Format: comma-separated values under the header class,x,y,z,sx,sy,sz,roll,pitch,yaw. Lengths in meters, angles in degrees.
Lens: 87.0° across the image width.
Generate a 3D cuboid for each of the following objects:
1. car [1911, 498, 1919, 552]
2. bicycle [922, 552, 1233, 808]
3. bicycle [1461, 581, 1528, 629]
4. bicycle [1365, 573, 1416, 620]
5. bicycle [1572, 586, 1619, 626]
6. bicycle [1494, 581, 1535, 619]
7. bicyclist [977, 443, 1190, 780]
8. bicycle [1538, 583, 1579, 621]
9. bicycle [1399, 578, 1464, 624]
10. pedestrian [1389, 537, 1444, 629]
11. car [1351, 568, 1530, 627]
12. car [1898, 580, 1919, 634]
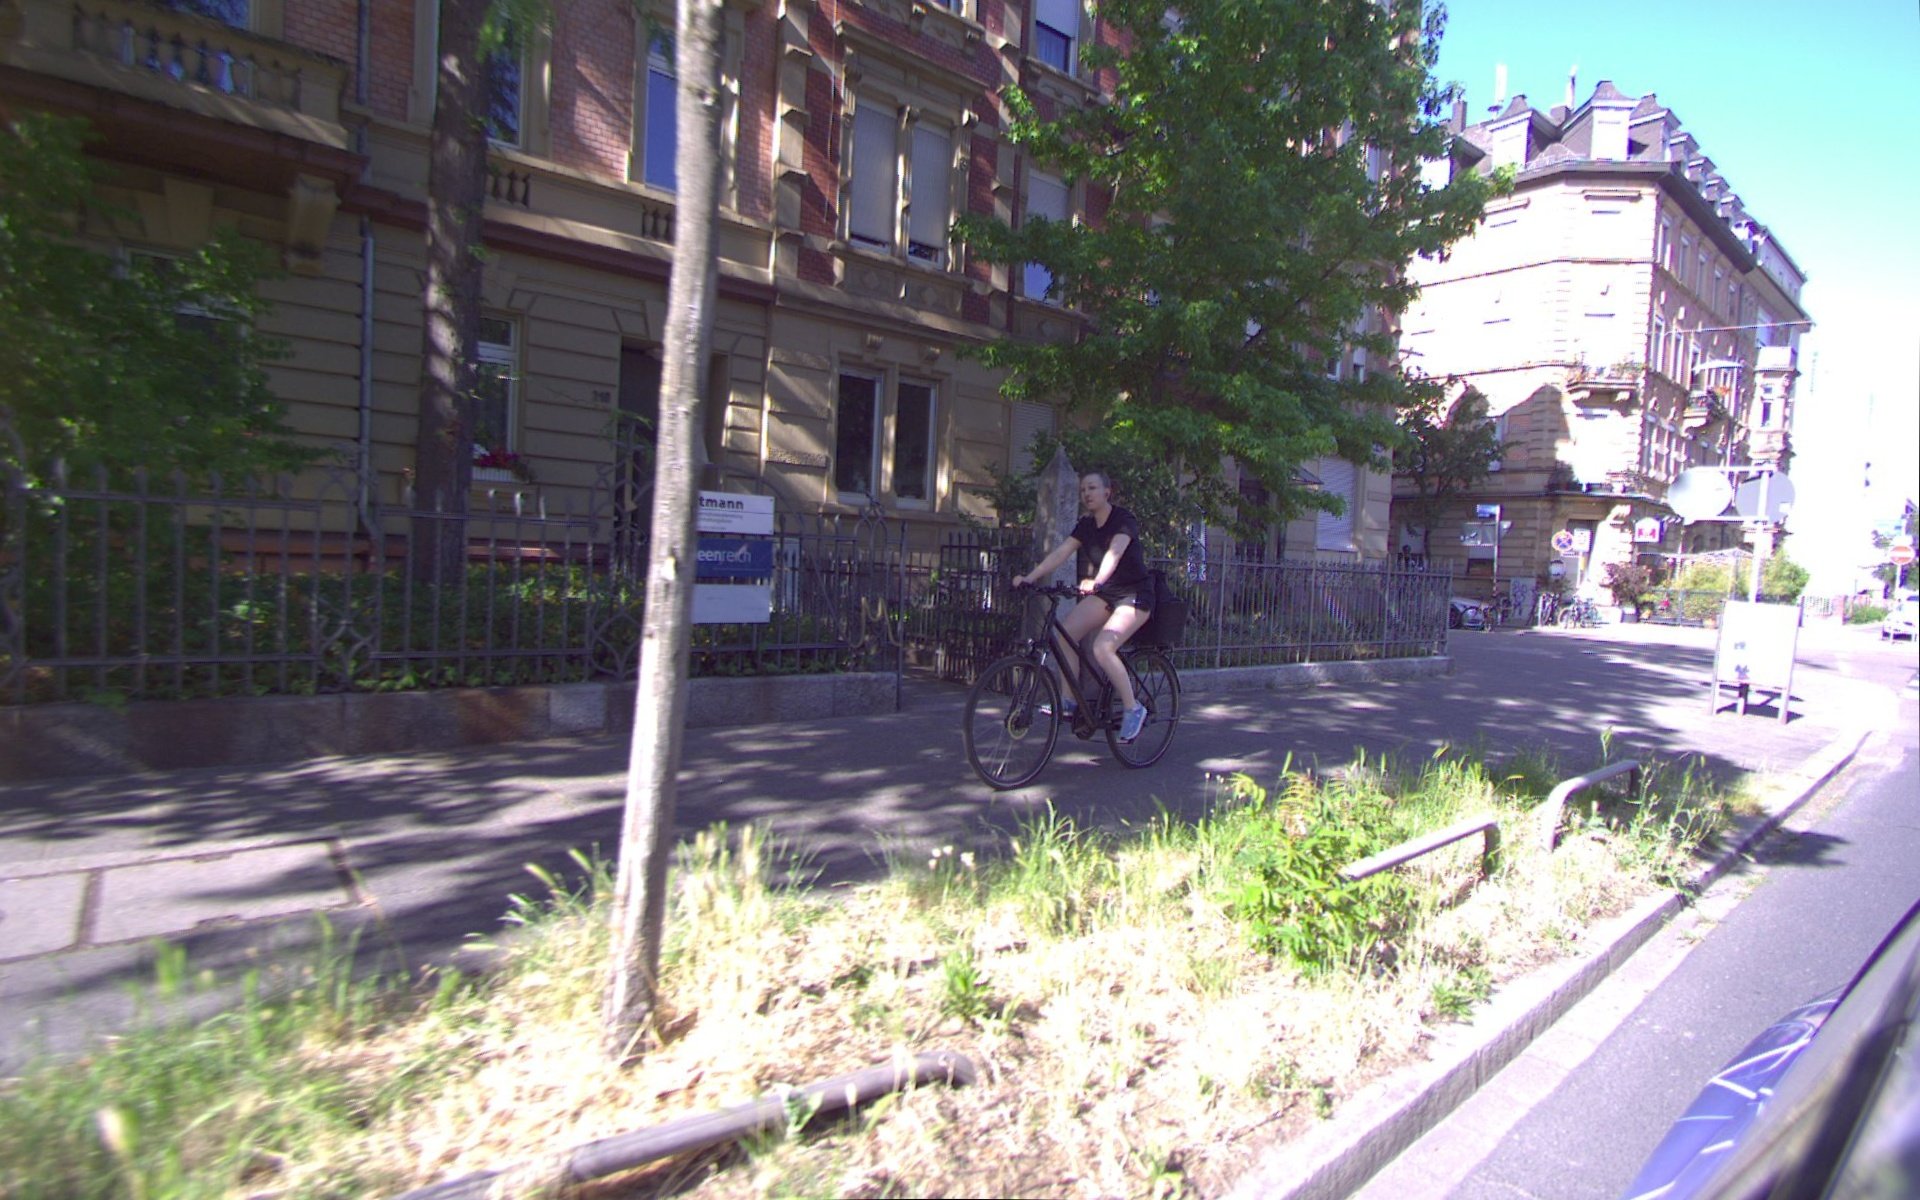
class,x,y,z,sx,sy,sz,roll,pitch,yaw
car,29.718,-2.114,29.987,4.036,1.457,1.846,1,5,-43
bicycle,0.718,0.378,5.729,1.812,1.190,0.654,0,6,-44
bicycle,13.947,0.111,26.463,0.574,1.148,2.019,4,1,-1
bicycle,12.047,-0.098,28.290,0.632,1.200,1.988,5,1,41
bicycle,20.040,0.164,31.905,1.986,1.148,0.734,-2,4,-44
bicycle,18.485,-0.021,33.714,1.986,1.148,0.584,-2,5,-44
bicyclist,0.692,0.034,5.655,0.874,1.715,0.646,1,5,-43
bicycle,19.372,0.047,32.731,1.986,1.148,0.584,-1,5,-44
bicycle,12.772,0.036,27.393,1.980,1.148,0.585,2,2,-34
pedestrian,9.805,-0.388,21.747,0.680,1.915,0.767,0,4,-36
car,14.425,-0.109,30.617,2.009,1.434,4.422,1,4,-37
car,35.727,0.278,37.028,3.501,1.896,1.692,0,4,-43
